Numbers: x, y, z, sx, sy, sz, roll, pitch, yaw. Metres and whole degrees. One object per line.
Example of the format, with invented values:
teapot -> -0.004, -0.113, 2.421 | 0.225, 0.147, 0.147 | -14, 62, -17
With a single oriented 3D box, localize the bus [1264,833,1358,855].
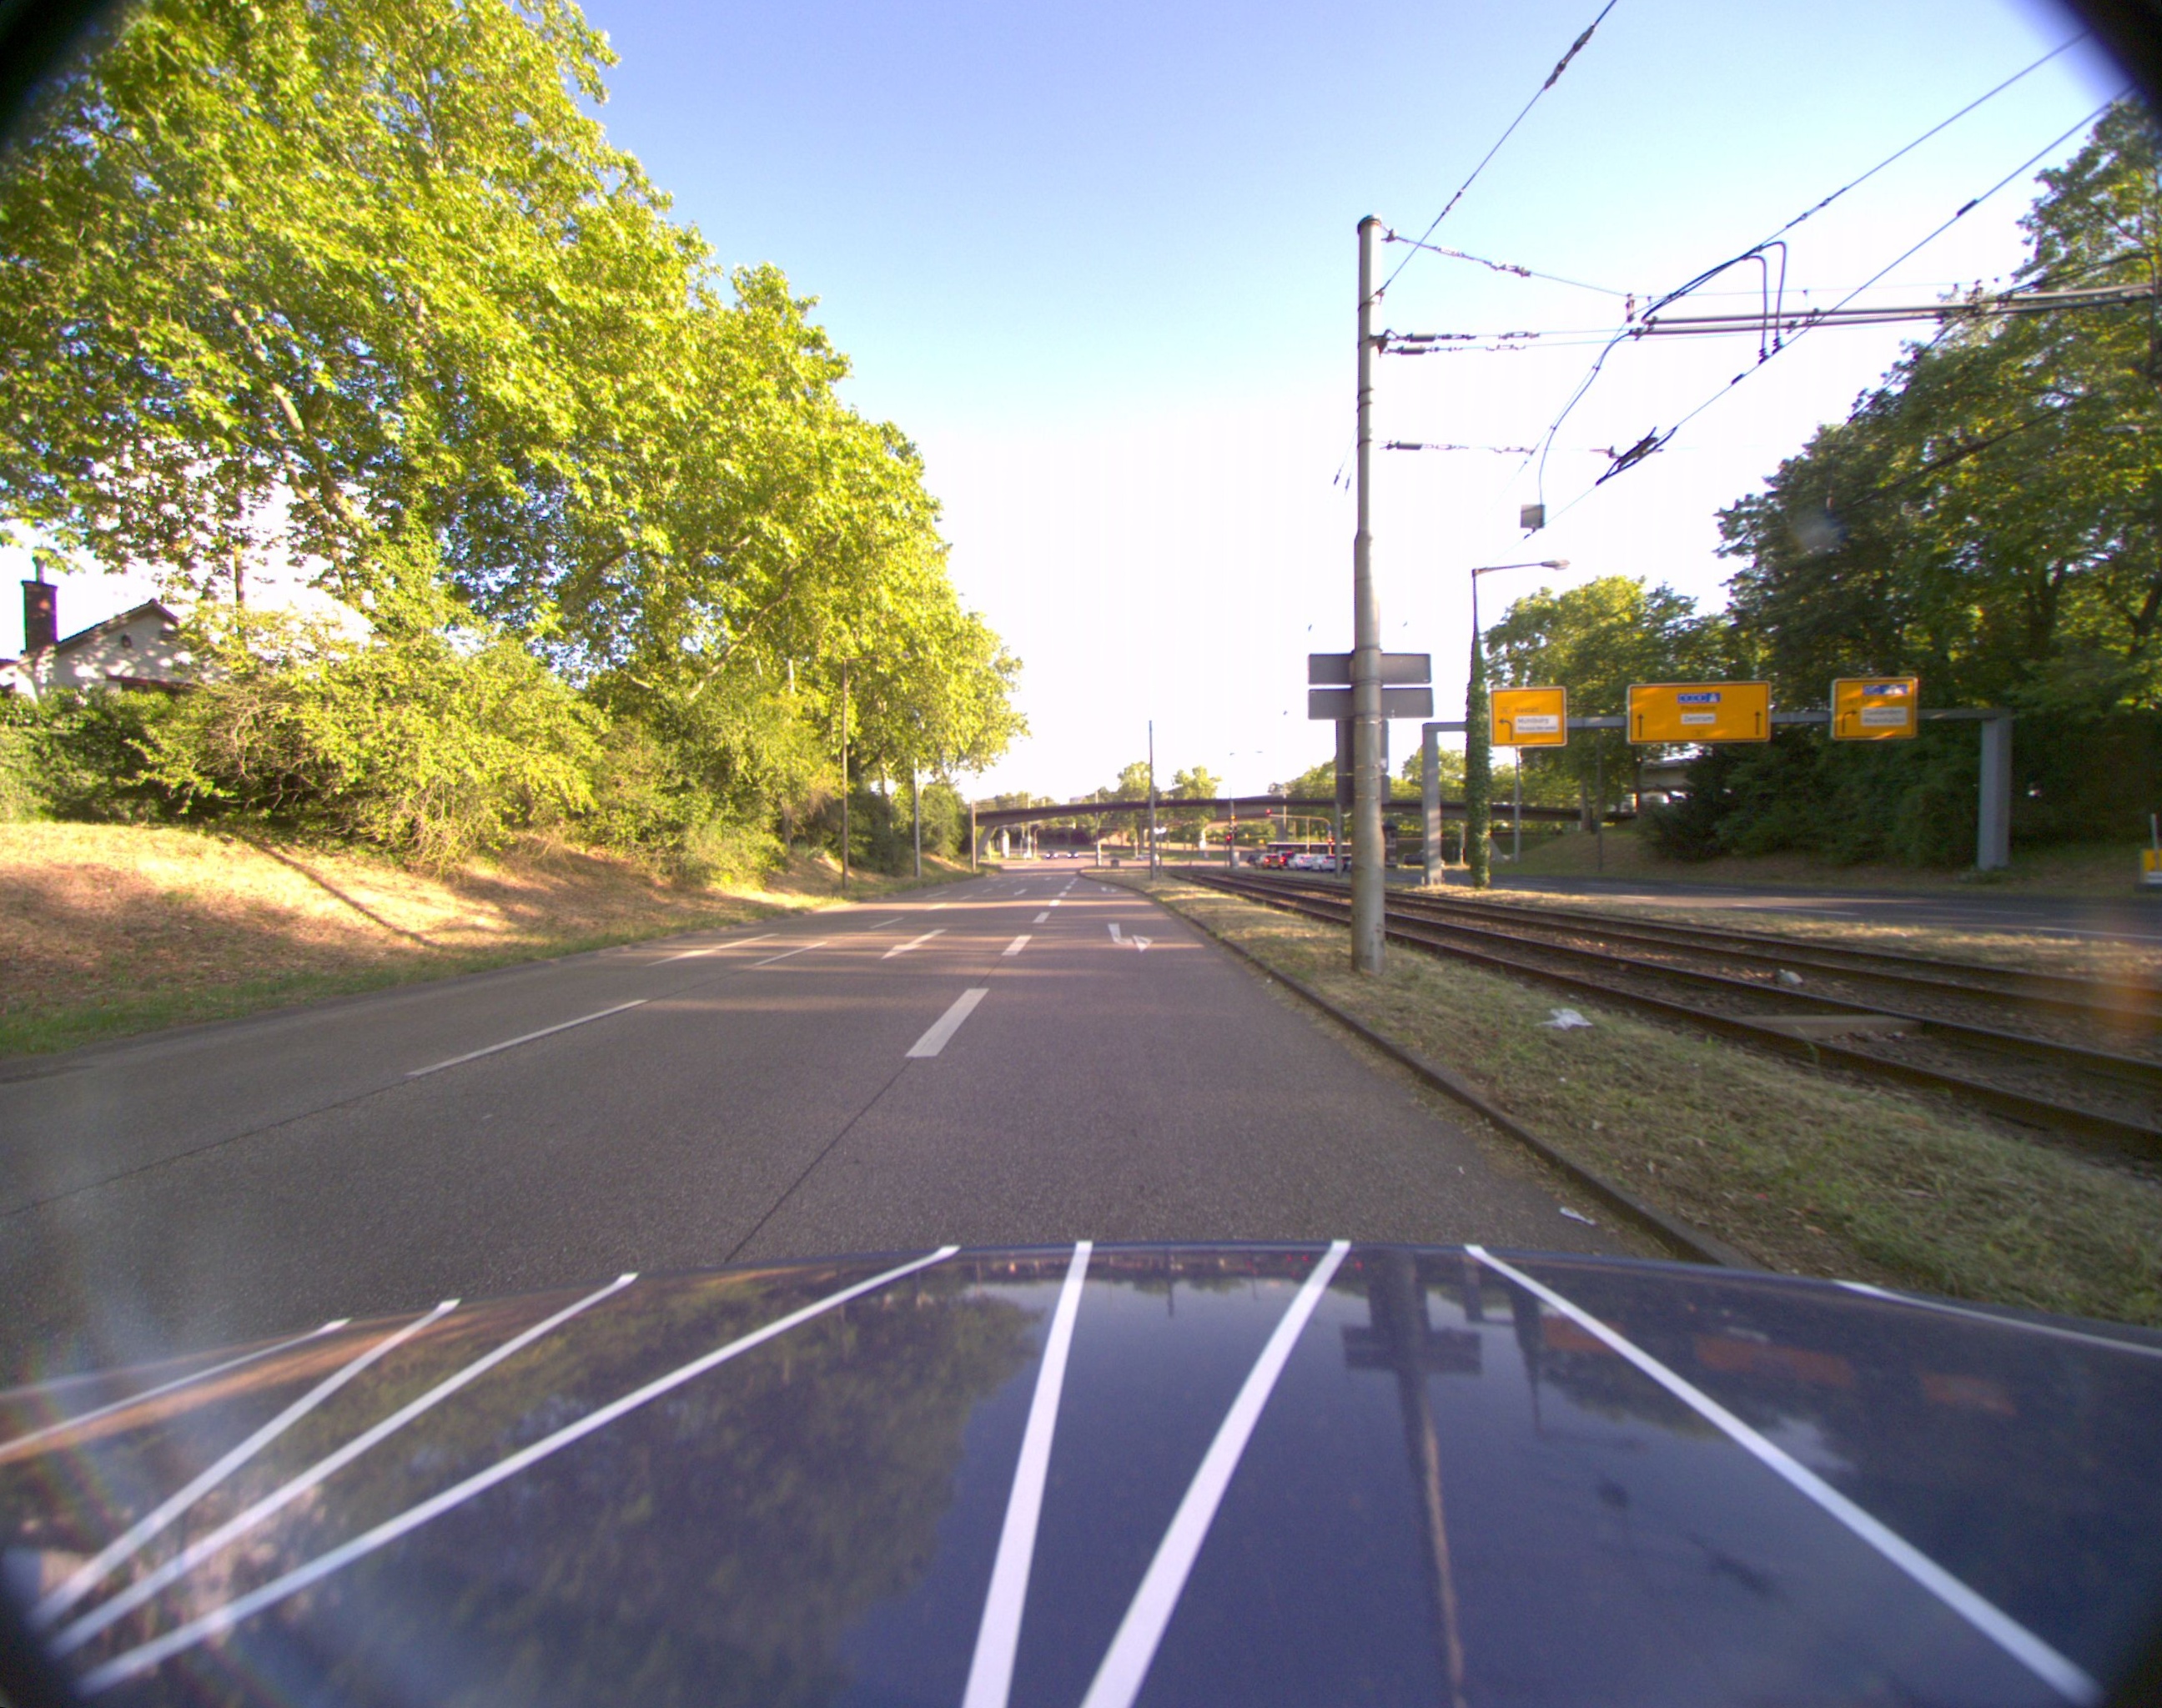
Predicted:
bus -> 34.289, -1.451, 113.420 | 13.164, 2.846, 2.420 | -2, 1, 20

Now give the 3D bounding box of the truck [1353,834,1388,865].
truck -> 28.380, -0.441, 74.791 | 2.281, 2.862, 6.886 | -1, 0, 13

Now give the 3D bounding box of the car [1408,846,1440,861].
car -> 46.996, -0.034, 104.188 | 3.805, 1.848, 1.679 | -2, 1, 20

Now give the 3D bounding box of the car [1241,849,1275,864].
car -> 21.475, 0.280, 92.235 | 3.993, 1.646, 1.786 | -2, 1, 14

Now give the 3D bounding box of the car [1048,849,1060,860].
car -> -4.903, 0.072, 139.195 | 1.960, 1.779, 3.998 | -2, 0, -5

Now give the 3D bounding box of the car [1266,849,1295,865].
car -> 19.579, 0.261, 74.733 | 1.917, 1.540, 4.227 | -1, 0, 4

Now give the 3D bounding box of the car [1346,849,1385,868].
car -> 23.938, 0.357, 64.080 | 1.813, 1.535, 4.000 | -1, 0, 1

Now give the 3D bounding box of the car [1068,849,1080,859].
car -> -1.259, 0.018, 141.871 | 1.905, 1.726, 3.998 | -2, 0, -5

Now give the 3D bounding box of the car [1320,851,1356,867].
car -> 23.735, 0.457, 70.201 | 1.868, 1.416, 4.226 | -1, 0, 0

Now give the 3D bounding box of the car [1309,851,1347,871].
car -> 20.024, 0.539, 61.797 | 1.767, 1.535, 4.000 | -1, 0, 0

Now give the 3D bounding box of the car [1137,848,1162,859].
car -> 10.975, -0.087, 122.362 | 3.647, 1.503, 1.665 | -2, 1, 20

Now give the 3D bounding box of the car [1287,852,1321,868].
car -> 19.912, 0.512, 68.075 | 1.918, 1.416, 4.227 | -1, 0, 2

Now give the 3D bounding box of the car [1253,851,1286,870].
car -> 16.145, 0.504, 65.228 | 1.767, 1.535, 4.000 | -1, 0, 0
